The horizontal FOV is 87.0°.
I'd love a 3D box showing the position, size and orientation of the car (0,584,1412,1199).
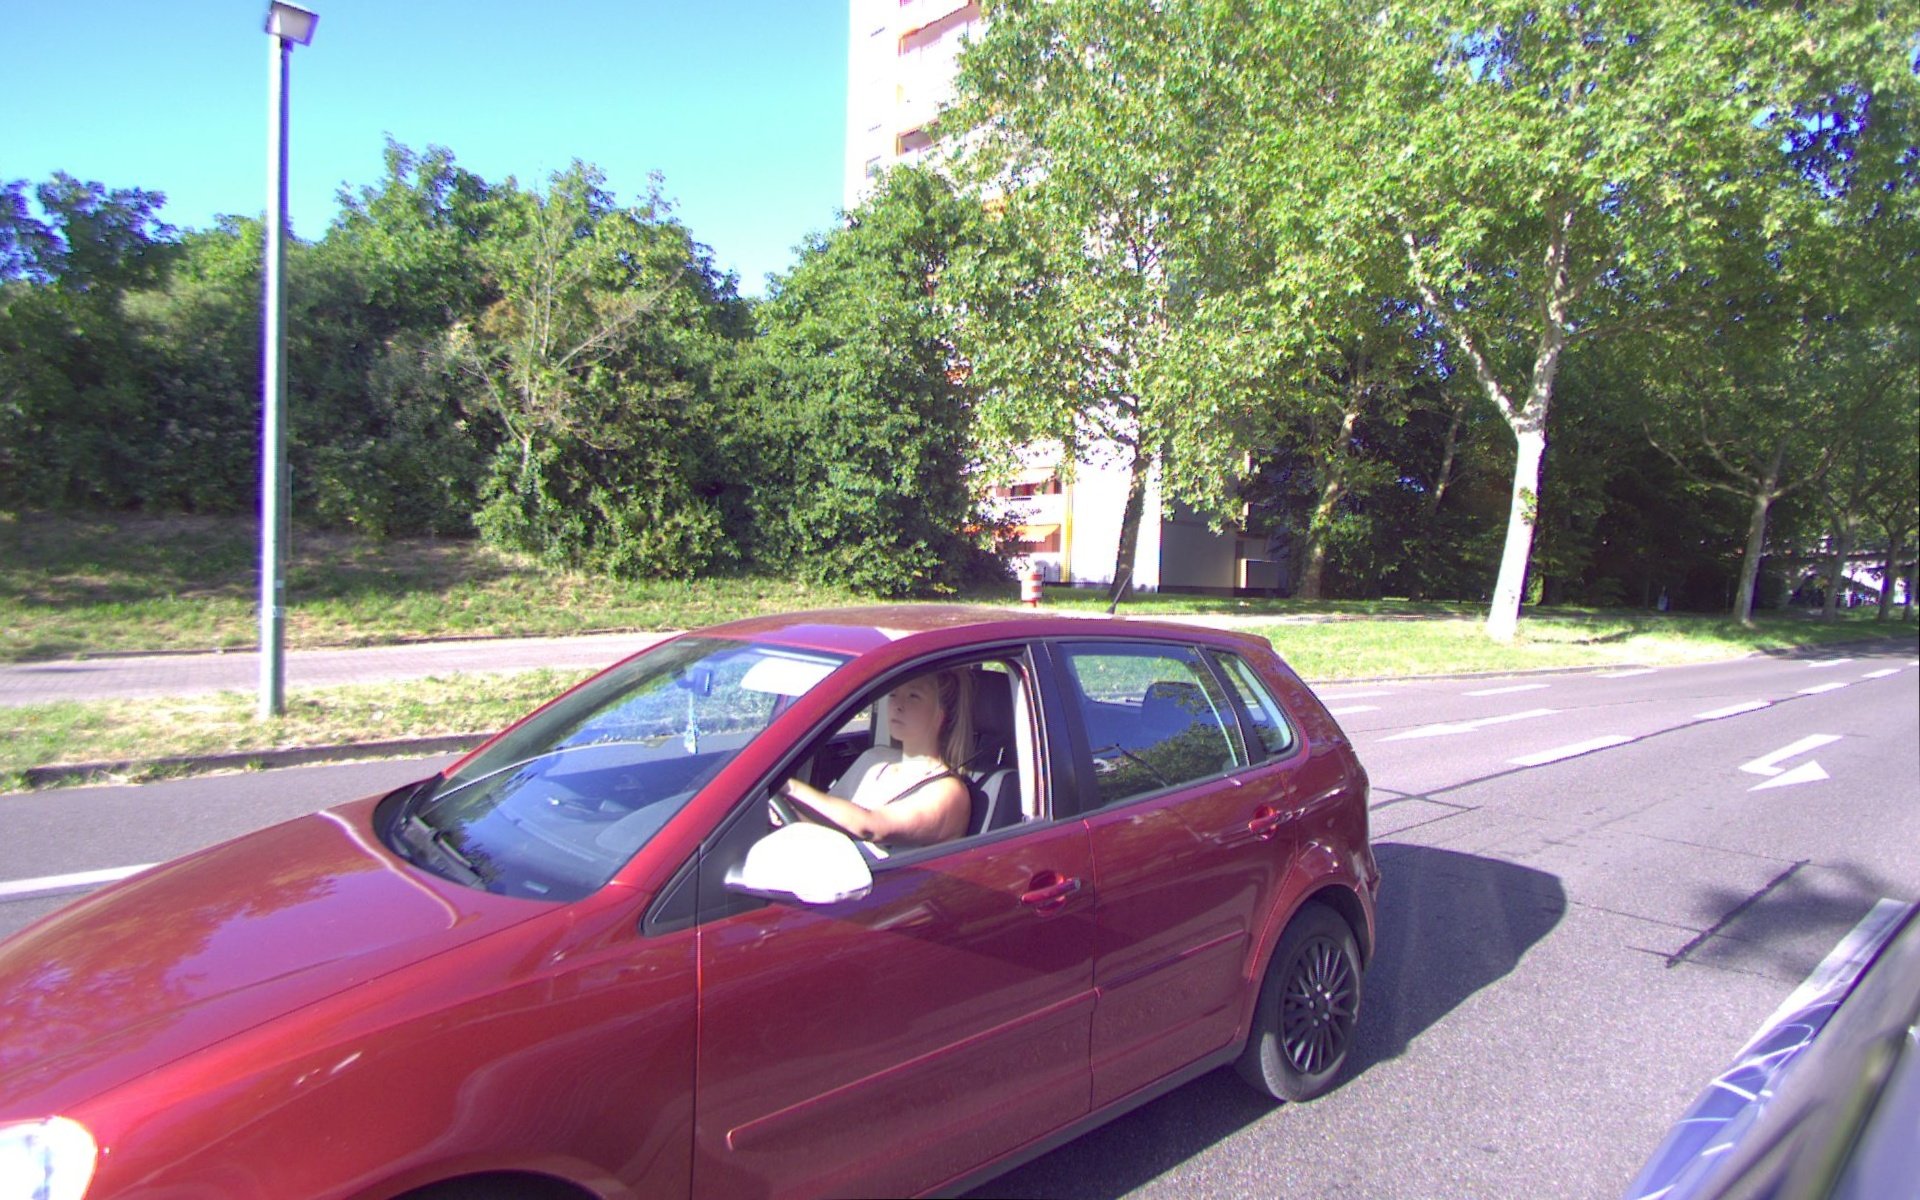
[{"bbox_3d":[-0.469,0.695,2.755,3.627,1.434,1.626,0,1,-39],"label":"car"}]
